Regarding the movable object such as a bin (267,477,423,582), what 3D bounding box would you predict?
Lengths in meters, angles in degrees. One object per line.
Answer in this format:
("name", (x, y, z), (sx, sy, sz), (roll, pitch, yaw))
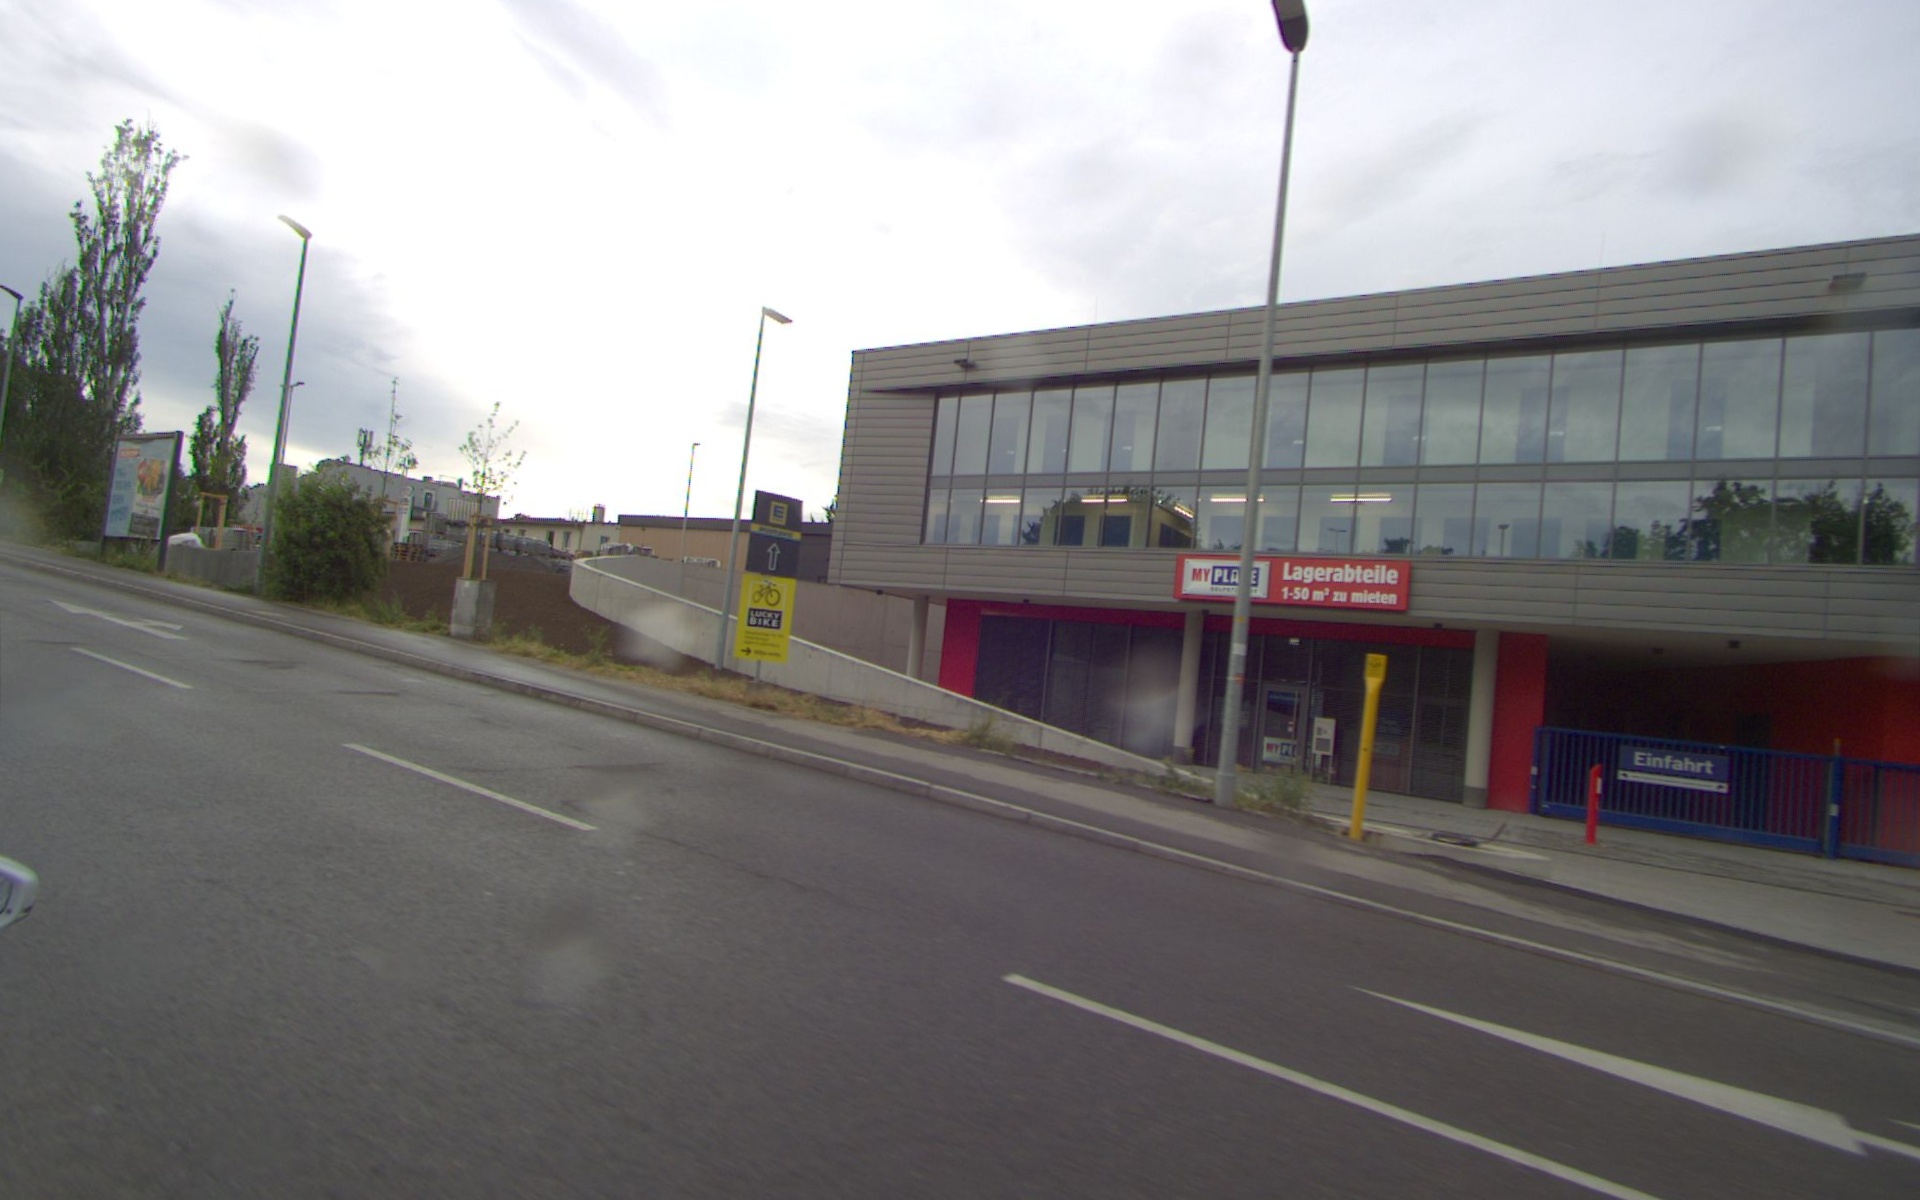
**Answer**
("movable object such as a bin", (-24.217, -2.770, 39.602), (5.327, 3.312, 2.310), (8, -2, 25))
